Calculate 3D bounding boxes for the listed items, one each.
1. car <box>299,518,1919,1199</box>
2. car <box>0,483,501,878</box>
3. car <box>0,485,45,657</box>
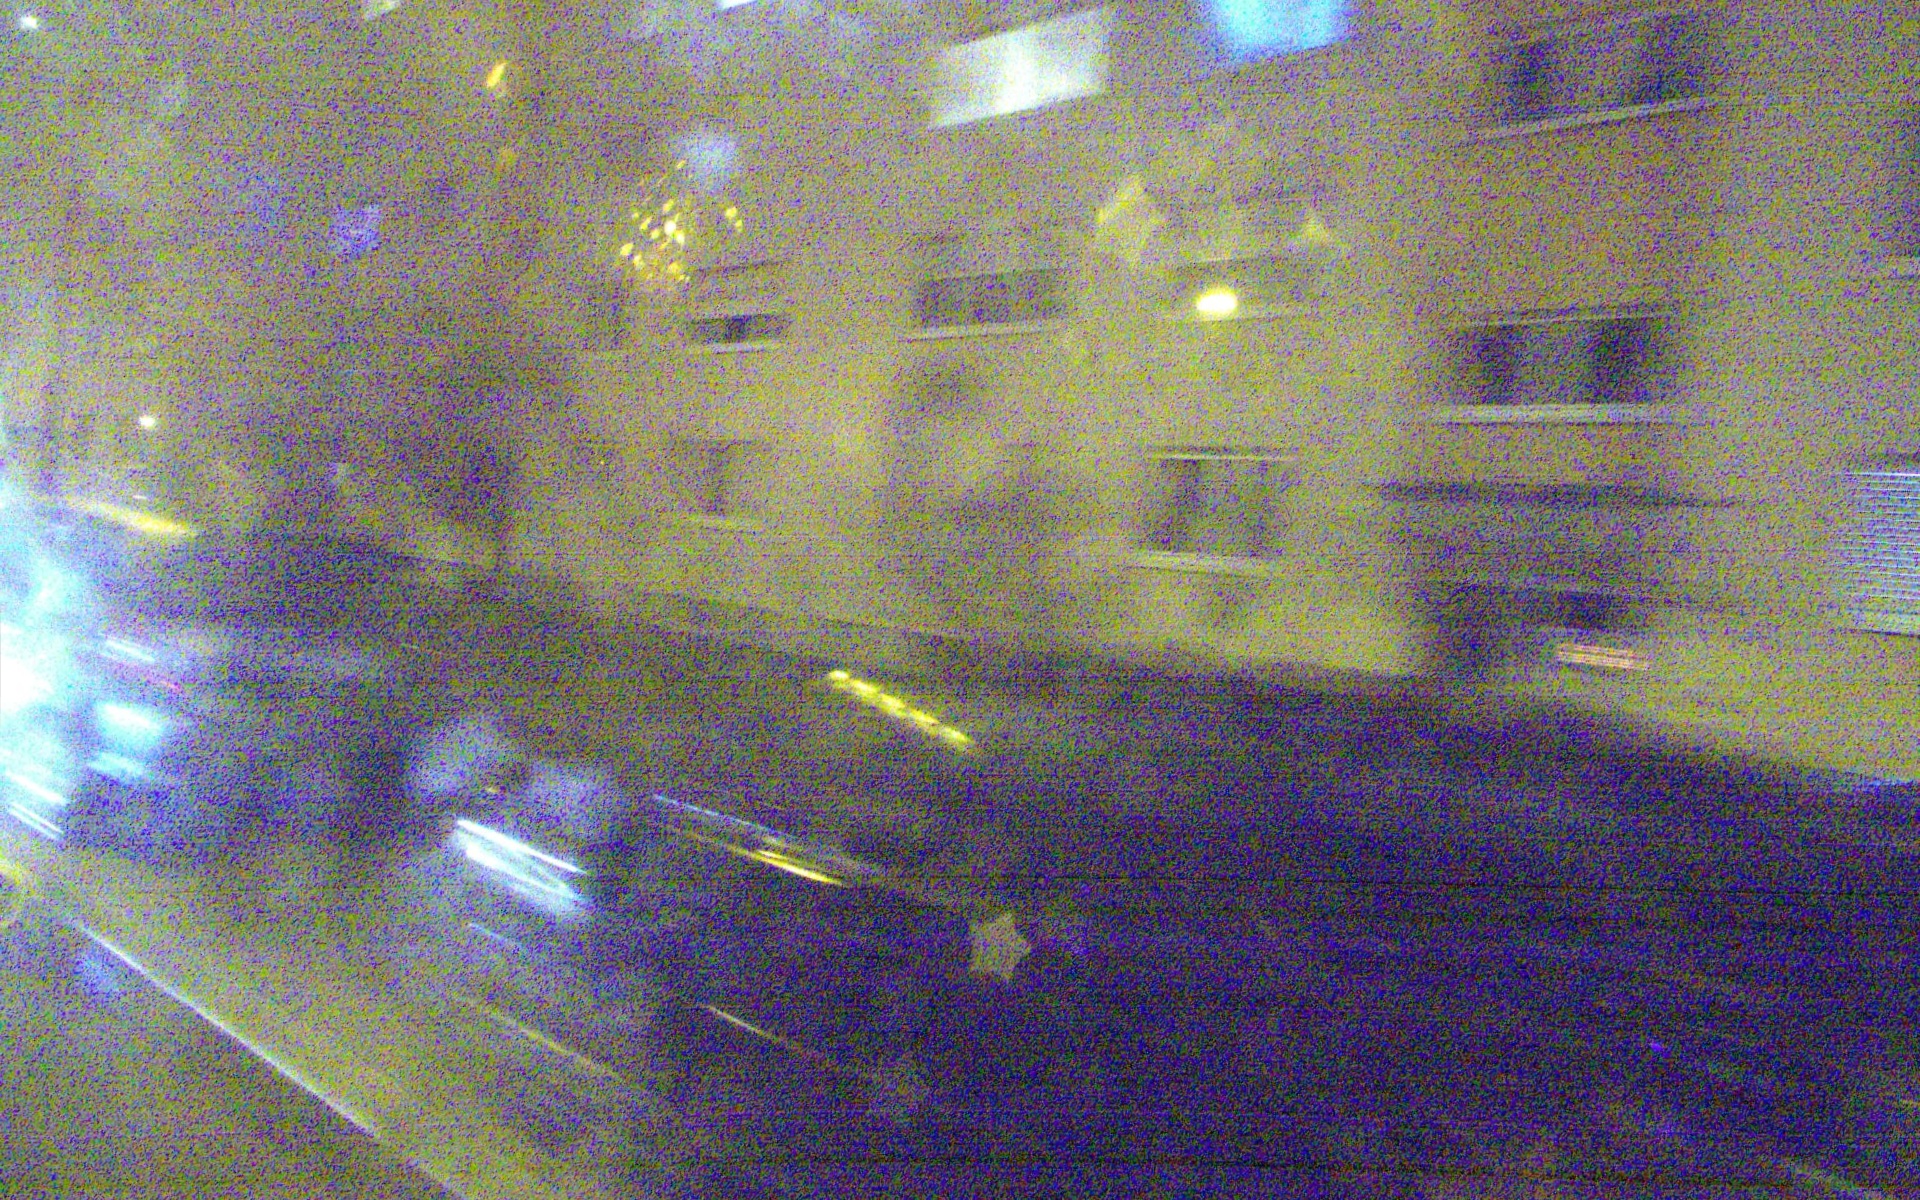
[{"bbox_3d":[0.158,0.750,2.686,3.885,1.491,1.606,7,0,31],"label":"car"},{"bbox_3d":[-4.675,0.186,5.607,3.884,1.491,1.798,7,0,29],"label":"car"},{"bbox_3d":[-10.716,-0.501,9.534,3.884,1.567,1.798,7,0,29],"label":"car"}]
